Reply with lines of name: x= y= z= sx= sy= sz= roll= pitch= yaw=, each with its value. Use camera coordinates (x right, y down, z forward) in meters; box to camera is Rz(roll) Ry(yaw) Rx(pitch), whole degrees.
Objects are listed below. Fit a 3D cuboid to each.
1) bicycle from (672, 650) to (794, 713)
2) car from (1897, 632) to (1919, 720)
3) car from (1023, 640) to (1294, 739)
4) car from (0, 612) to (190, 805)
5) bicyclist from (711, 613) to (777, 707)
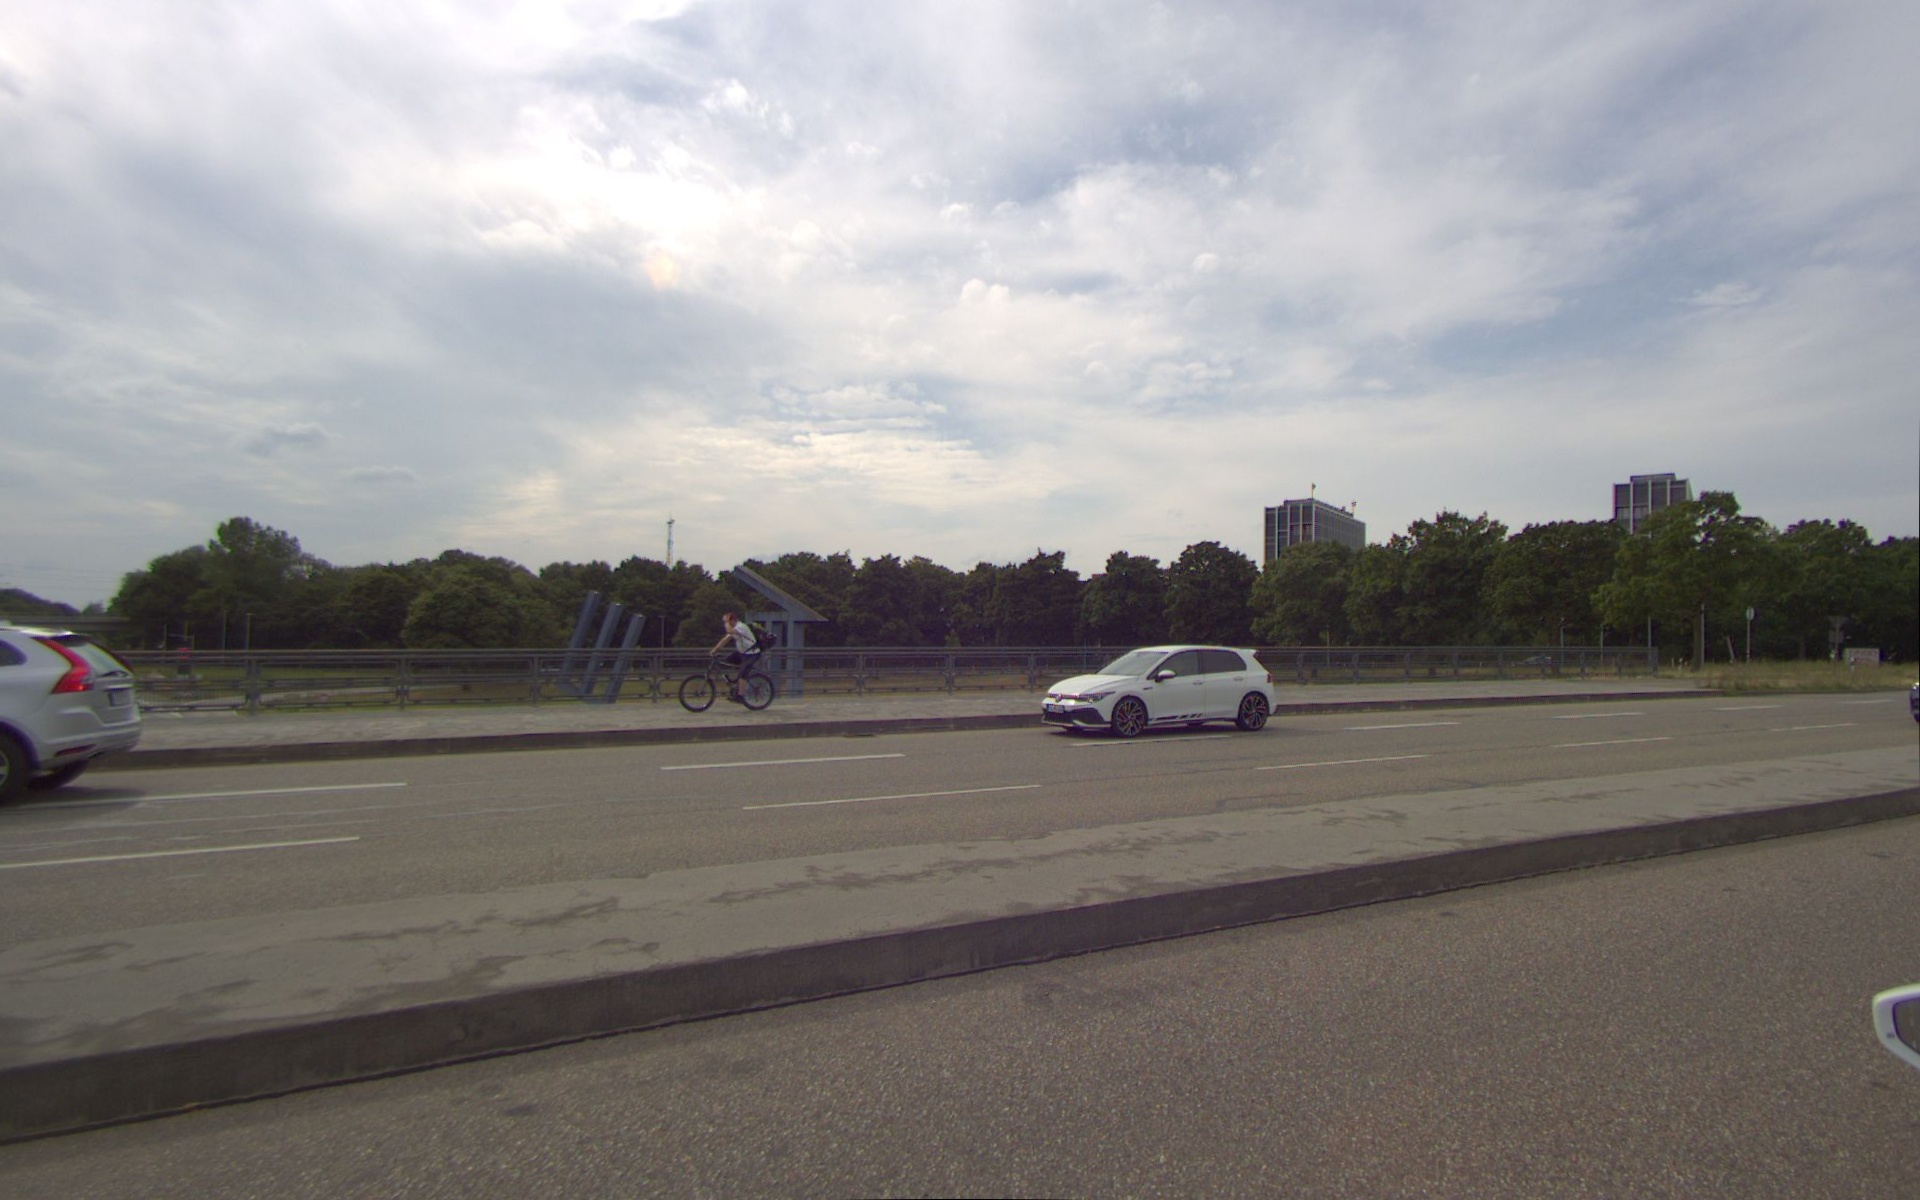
bicycle: x=-4.104 y=1.449 z=18.195 sx=2.035 sy=1.063 sz=0.703 roll=1 pitch=-1 yaw=-30
car: x=18.870 y=1.353 z=17.871 sx=4.715 sy=1.500 sz=1.732 roll=2 pitch=-4 yaw=-28
car: x=3.421 y=1.458 z=17.173 sx=4.413 sy=1.500 sz=1.733 roll=1 pitch=-3 yaw=-27
car: x=-10.362 y=1.013 z=9.367 sx=4.708 sy=1.747 sz=1.857 roll=1 pitch=-3 yaw=-27
bicyclist: x=-3.931 y=1.073 z=18.282 sx=0.965 sy=1.648 sz=0.791 roll=1 pitch=0 yaw=-30
